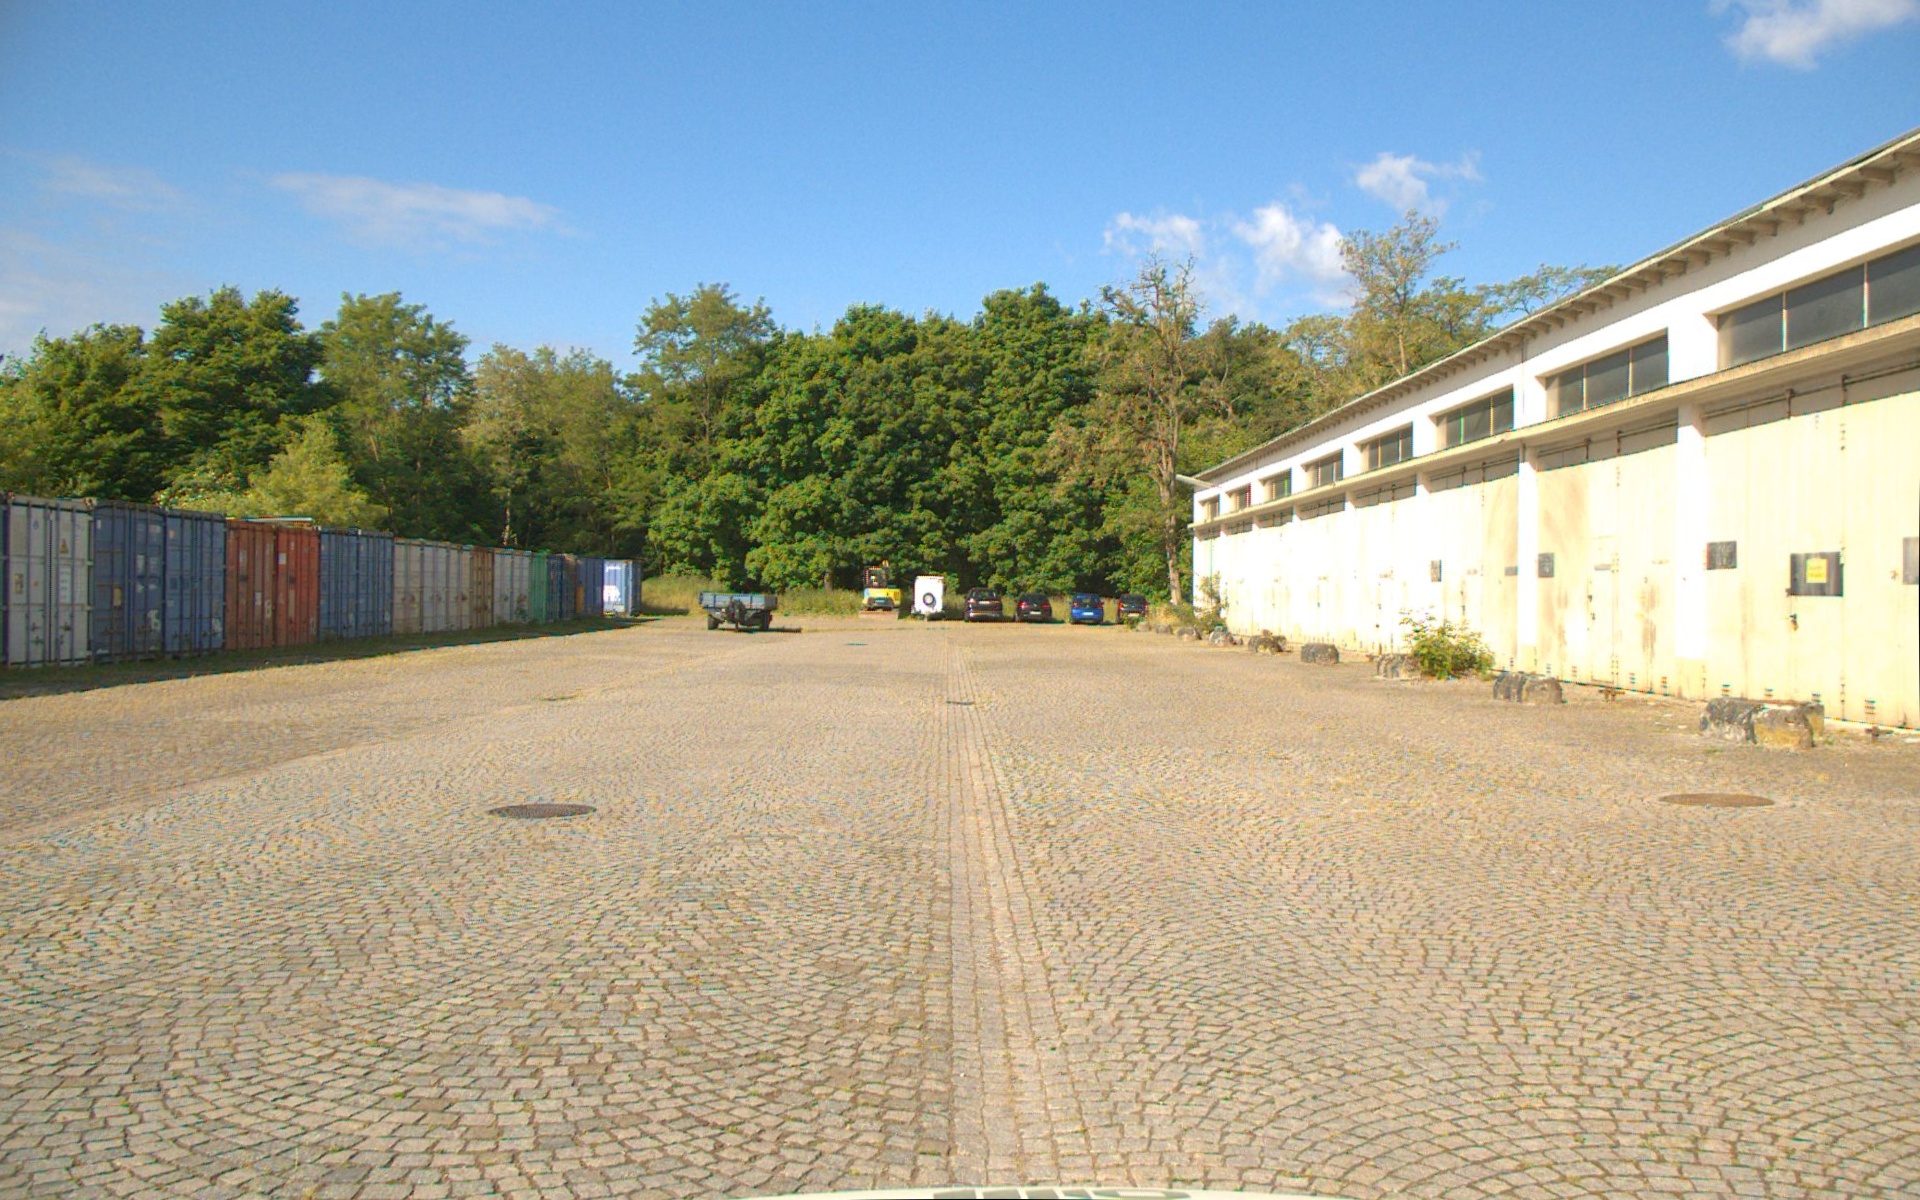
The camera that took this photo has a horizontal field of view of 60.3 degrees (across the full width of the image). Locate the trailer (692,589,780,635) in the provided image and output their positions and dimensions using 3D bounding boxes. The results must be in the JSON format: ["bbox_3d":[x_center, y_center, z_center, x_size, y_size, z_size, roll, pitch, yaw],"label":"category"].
[{"bbox_3d":[-8.436,0.426,62.887,2.651,1.491,6.245,2,1,-2],"label":"trailer"}]

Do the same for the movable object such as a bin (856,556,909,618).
[{"bbox_3d":[-3.865,-0.717,83.628,2.259,2.947,5.752,2,1,0],"label":"movable object such as a bin"}]

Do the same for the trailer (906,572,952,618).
[{"bbox_3d":[-1.533,-0.283,83.066,2.148,2.131,5.751,2,1,-1],"label":"trailer"}]

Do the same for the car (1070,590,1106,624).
[{"bbox_3d":[6.279,0.314,81.097,1.707,1.461,4.186,2,1,4],"label":"car"}]

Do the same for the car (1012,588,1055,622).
[{"bbox_3d":[3.568,0.231,81.122,1.826,1.495,4.295,2,1,-1],"label":"car"}]

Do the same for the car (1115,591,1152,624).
[{"bbox_3d":[8.668,0.371,82.538,1.707,1.461,4.186,2,1,6],"label":"car"}]

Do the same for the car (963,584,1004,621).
[{"bbox_3d":[1.133,0.108,80.722,1.826,1.617,4.295,2,1,-1],"label":"car"}]
